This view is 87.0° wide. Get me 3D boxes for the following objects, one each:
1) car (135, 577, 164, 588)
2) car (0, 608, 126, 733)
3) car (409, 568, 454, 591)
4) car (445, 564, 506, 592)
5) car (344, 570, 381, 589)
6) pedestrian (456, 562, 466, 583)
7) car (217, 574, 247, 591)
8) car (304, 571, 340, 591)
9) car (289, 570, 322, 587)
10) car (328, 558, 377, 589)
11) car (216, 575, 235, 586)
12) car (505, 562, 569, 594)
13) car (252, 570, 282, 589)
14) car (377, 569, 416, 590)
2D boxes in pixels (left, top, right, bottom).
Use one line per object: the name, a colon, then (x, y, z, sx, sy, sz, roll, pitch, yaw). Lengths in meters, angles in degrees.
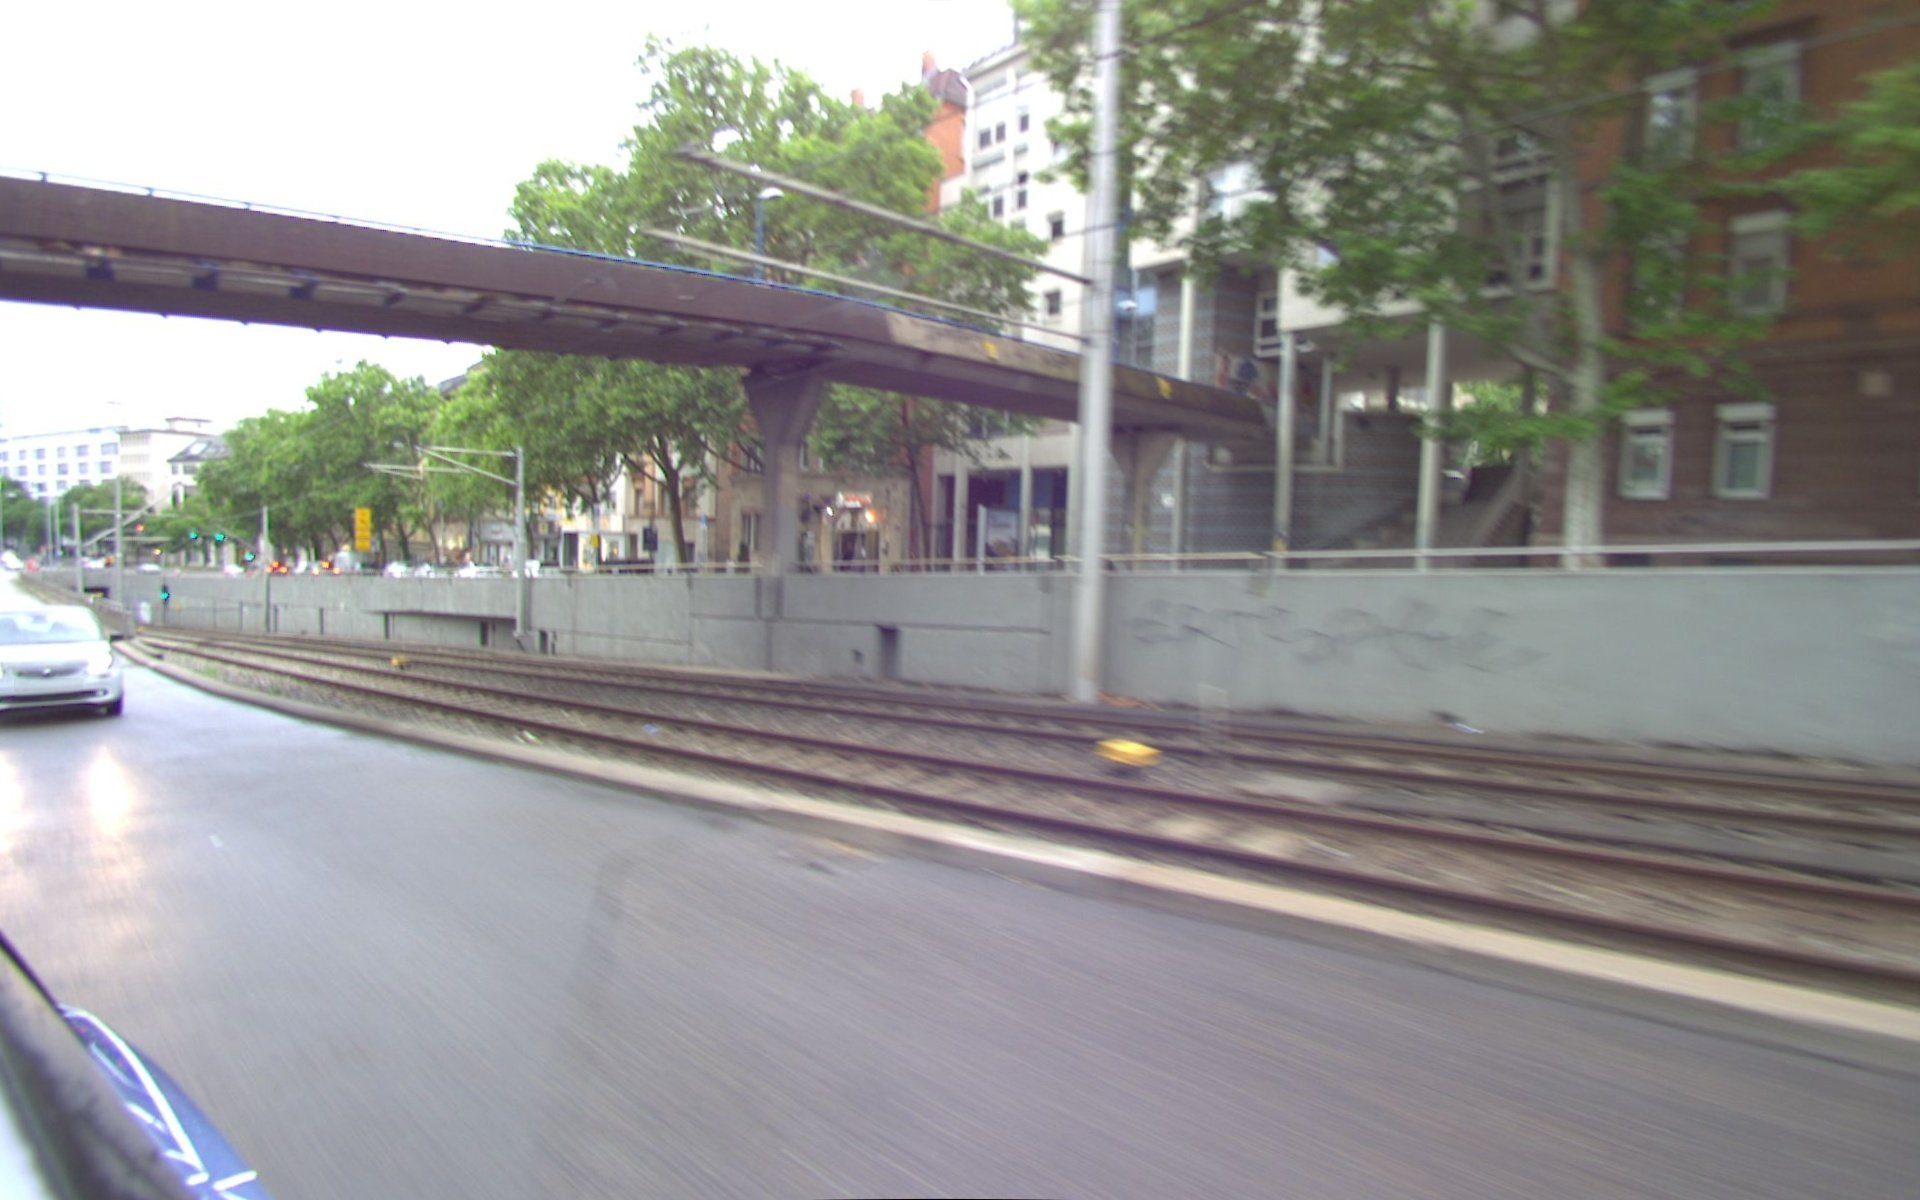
car: (-118.171, -2.541, 147.580, 4.873, 1.521, 2.009, 0, 3, 36)
car: (-13.446, 0.928, 14.681, 1.773, 1.548, 4.004, -1, 1, -44)
car: (-37.126, -1.443, 71.038, 1.773, 1.521, 4.213, -4, 3, -42)
car: (-30.245, -1.348, 63.088, 1.904, 1.613, 5.205, -4, 4, -42)
car: (-51.840, -1.758, 87.796, 1.773, 1.521, 4.677, -4, 4, -42)
pedestrian: (-42.063, -2.300, 85.356, 0.516, 1.760, 0.623, -6, 5, -35)
car: (-71.118, -1.734, 98.835, 1.774, 1.521, 4.003, -4, 4, -44)
car: (-53.146, -1.572, 84.294, 1.773, 1.521, 4.113, -4, 4, -42)
car: (-70.484, -2.321, 108.968, 4.902, 1.777, 1.856, 1, 4, 44)
car: (-55.549, -2.410, 92.422, 2.423, 2.682, 6.940, -4, 3, -42)
car: (-106.153, -2.853, 146.287, 1.824, 1.521, 4.023, -4, 3, -40)
car: (-22.742, -1.188, 54.368, 1.773, 1.623, 4.116, -4, 4, -43)
car: (-71.894, -2.143, 104.993, 1.933, 1.866, 4.975, -4, 3, -41)
car: (-44.133, -1.609, 79.220, 1.773, 1.582, 4.213, -4, 3, -42)
